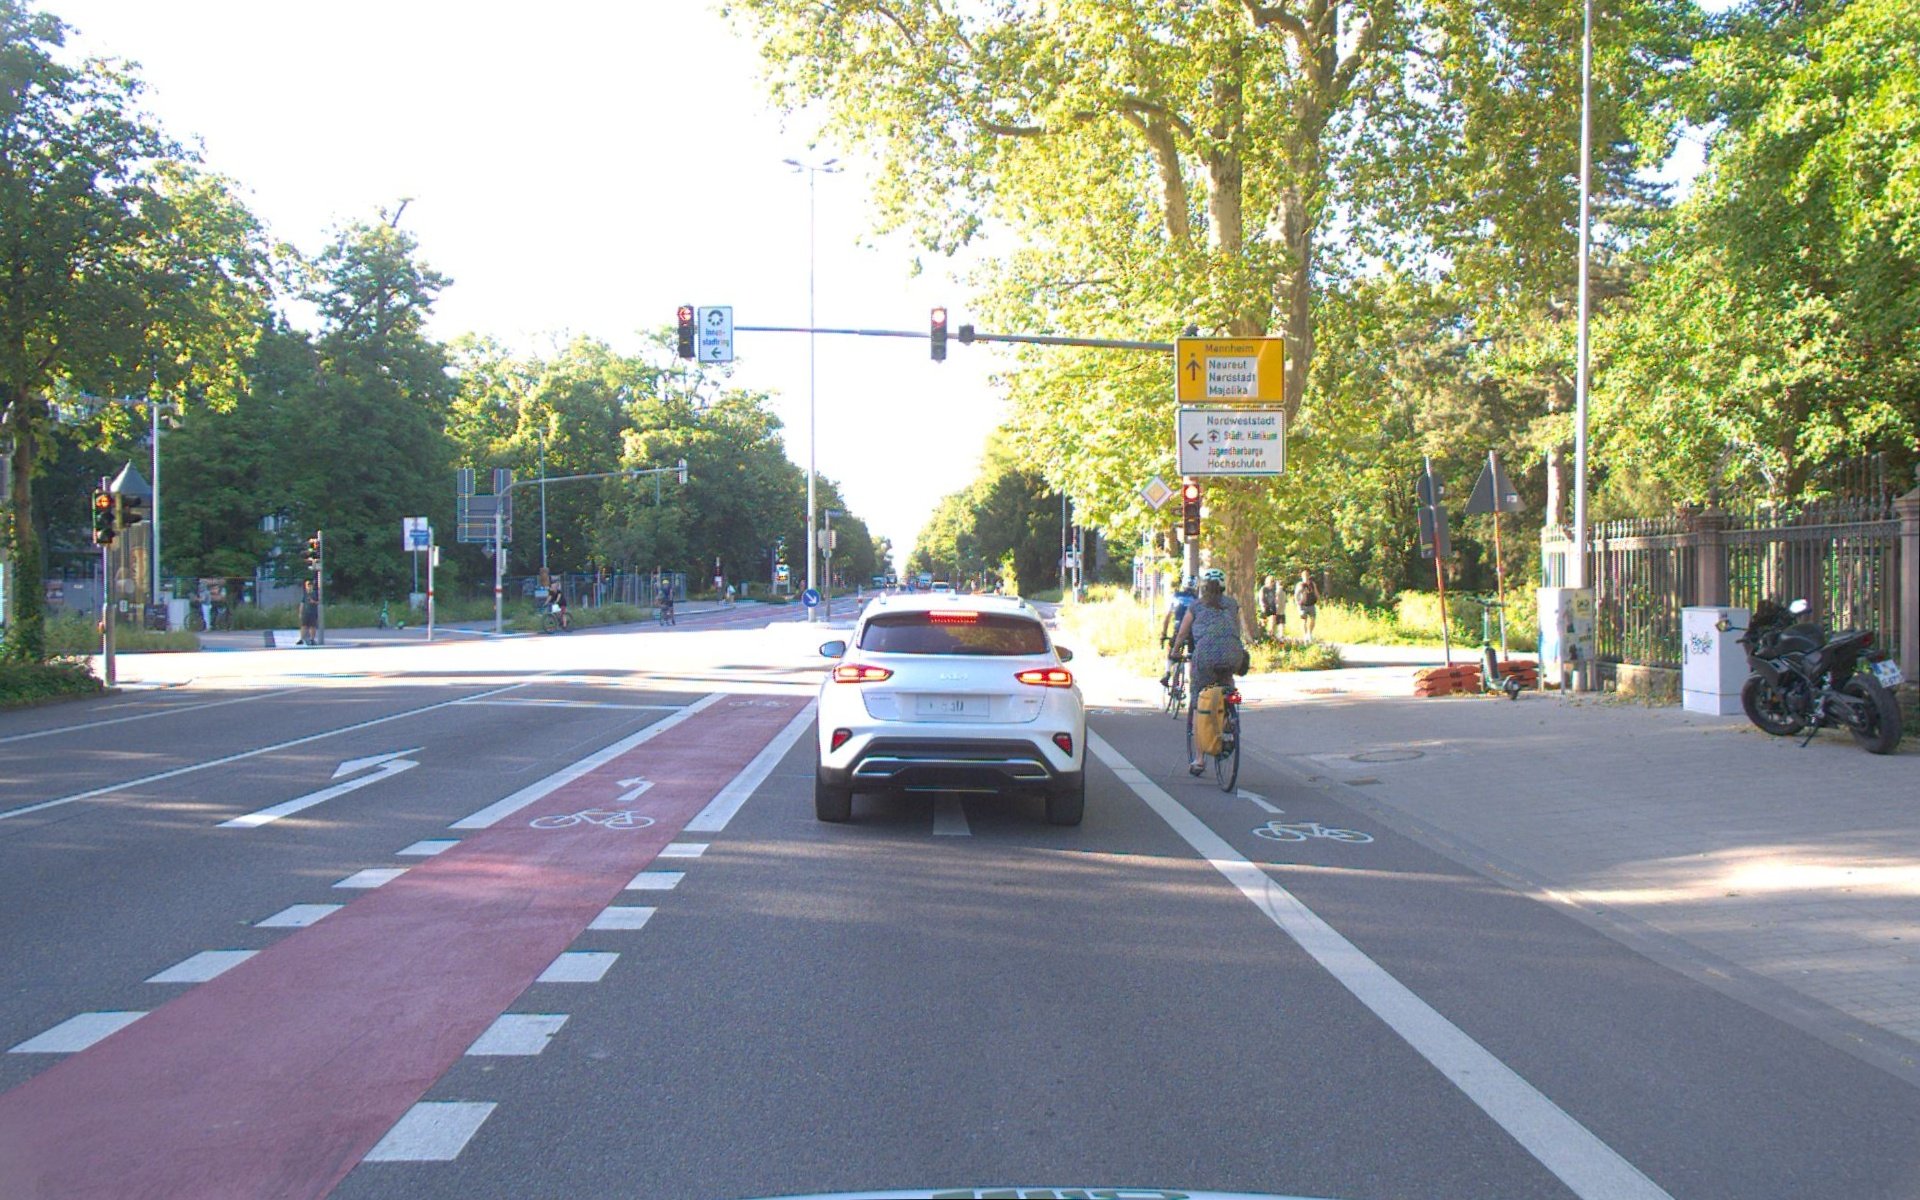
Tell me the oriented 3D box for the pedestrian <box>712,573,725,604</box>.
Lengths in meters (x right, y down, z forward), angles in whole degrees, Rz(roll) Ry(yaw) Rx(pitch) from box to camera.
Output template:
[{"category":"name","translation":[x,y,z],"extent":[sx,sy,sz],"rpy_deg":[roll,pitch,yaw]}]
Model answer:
[{"category":"pedestrian","translation":[-15.899,-0.737,109.099],"extent":[0.627,2.049,0.754],"rpy_deg":[1,0,10]}]

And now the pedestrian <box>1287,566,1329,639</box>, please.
[{"category":"pedestrian","translation":[8.792,0.062,41.785],"extent":[0.802,1.802,0.831],"rpy_deg":[-1,0,-8]}]

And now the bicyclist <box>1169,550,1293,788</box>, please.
[{"category":"bicyclist","translation":[2.175,0.527,13.400],"extent":[0.738,1.827,1.164],"rpy_deg":[1,0,-2]}]

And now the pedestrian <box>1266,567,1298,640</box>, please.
[{"category":"pedestrian","translation":[8.086,0.079,41.537],"extent":[0.604,1.802,0.646],"rpy_deg":[-1,0,-8]}]

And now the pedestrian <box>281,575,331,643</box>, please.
[{"category":"pedestrian","translation":[-20.214,0.275,51.160],"extent":[0.974,2.049,1.191],"rpy_deg":[1,0,5]}]

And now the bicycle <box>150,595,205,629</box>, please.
[{"category":"bicycle","translation":[-27.493,0.434,58.121],"extent":[1.822,1.168,0.443],"rpy_deg":[1,0,10]}]

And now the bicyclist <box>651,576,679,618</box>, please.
[{"category":"bicyclist","translation":[-11.575,-0.117,64.902],"extent":[0.857,1.636,1.188],"rpy_deg":[-1,0,1]}]

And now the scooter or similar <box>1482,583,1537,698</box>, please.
[{"category":"scooter or similar","translation":[6.663,0.476,20.087],"extent":[0.223,1.350,1.171],"rpy_deg":[-1,0,-2]}]

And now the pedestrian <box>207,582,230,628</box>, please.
[{"category":"pedestrian","translation":[-25.760,0.173,57.492],"extent":[0.617,1.608,0.444],"rpy_deg":[1,0,-10]}]

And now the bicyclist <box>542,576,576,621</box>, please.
[{"category":"bicyclist","translation":[-14.691,-0.062,60.583],"extent":[0.856,1.634,0.978],"rpy_deg":[-1,0,12]}]

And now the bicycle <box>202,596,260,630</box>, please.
[{"category":"bicycle","translation":[-25.579,0.448,58.030],"extent":[1.826,1.168,0.290],"rpy_deg":[1,0,-8]}]

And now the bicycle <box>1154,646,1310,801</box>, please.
[{"category":"bicycle","translation":[2.162,0.948,13.503],"extent":[0.742,1.031,2.569],"rpy_deg":[2,1,-2]}]

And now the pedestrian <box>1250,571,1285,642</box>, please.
[{"category":"pedestrian","translation":[7.641,0.154,41.071],"extent":[0.676,1.729,0.643],"rpy_deg":[-1,0,-7]}]

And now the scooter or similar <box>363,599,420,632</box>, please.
[{"category":"scooter or similar","translation":[-20.544,0.558,59.798],"extent":[0.697,1.144,1.916],"rpy_deg":[0,0,32]}]

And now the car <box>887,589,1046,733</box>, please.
[{"category":"car","translation":[0.007,0.643,19.530],"extent":[1.694,1.509,3.515],"rpy_deg":[-1,1,-2]}]

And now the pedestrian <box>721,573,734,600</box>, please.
[{"category":"pedestrian","translation":[-15.393,-0.883,109.417],"extent":[0.769,1.817,0.751],"rpy_deg":[1,0,0]}]

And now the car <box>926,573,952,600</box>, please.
[{"category":"car","translation":[-1.591,-1.038,126.029],"extent":[1.953,2.049,4.000],"rpy_deg":[-1,1,-1]}]

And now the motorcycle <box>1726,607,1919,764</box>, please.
[{"category":"motorcycle","translation":[7.058,0.646,13.520],"extent":[0.495,1.151,2.170],"rpy_deg":[-2,0,-2]}]

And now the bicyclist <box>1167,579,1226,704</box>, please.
[{"category":"bicyclist","translation":[2.967,0.512,20.805],"extent":[0.543,1.504,0.716],"rpy_deg":[-3,0,-2]}]

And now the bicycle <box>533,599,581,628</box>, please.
[{"category":"bicycle","translation":[-14.713,0.490,60.442],"extent":[0.567,1.006,2.717],"rpy_deg":[-1,1,12]}]

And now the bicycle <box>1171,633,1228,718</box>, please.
[{"category":"bicycle","translation":[2.992,0.924,20.786],"extent":[0.393,0.973,1.550],"rpy_deg":[-3,0,-2]}]

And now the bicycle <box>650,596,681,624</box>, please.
[{"category":"bicycle","translation":[-11.566,0.383,65.010],"extent":[0.650,1.006,2.505],"rpy_deg":[-1,1,2]}]

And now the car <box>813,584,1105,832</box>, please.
[{"category":"car","translation":[-0.066,0.646,12.099],"extent":[1.784,1.506,3.935],"rpy_deg":[0,1,-2]}]
